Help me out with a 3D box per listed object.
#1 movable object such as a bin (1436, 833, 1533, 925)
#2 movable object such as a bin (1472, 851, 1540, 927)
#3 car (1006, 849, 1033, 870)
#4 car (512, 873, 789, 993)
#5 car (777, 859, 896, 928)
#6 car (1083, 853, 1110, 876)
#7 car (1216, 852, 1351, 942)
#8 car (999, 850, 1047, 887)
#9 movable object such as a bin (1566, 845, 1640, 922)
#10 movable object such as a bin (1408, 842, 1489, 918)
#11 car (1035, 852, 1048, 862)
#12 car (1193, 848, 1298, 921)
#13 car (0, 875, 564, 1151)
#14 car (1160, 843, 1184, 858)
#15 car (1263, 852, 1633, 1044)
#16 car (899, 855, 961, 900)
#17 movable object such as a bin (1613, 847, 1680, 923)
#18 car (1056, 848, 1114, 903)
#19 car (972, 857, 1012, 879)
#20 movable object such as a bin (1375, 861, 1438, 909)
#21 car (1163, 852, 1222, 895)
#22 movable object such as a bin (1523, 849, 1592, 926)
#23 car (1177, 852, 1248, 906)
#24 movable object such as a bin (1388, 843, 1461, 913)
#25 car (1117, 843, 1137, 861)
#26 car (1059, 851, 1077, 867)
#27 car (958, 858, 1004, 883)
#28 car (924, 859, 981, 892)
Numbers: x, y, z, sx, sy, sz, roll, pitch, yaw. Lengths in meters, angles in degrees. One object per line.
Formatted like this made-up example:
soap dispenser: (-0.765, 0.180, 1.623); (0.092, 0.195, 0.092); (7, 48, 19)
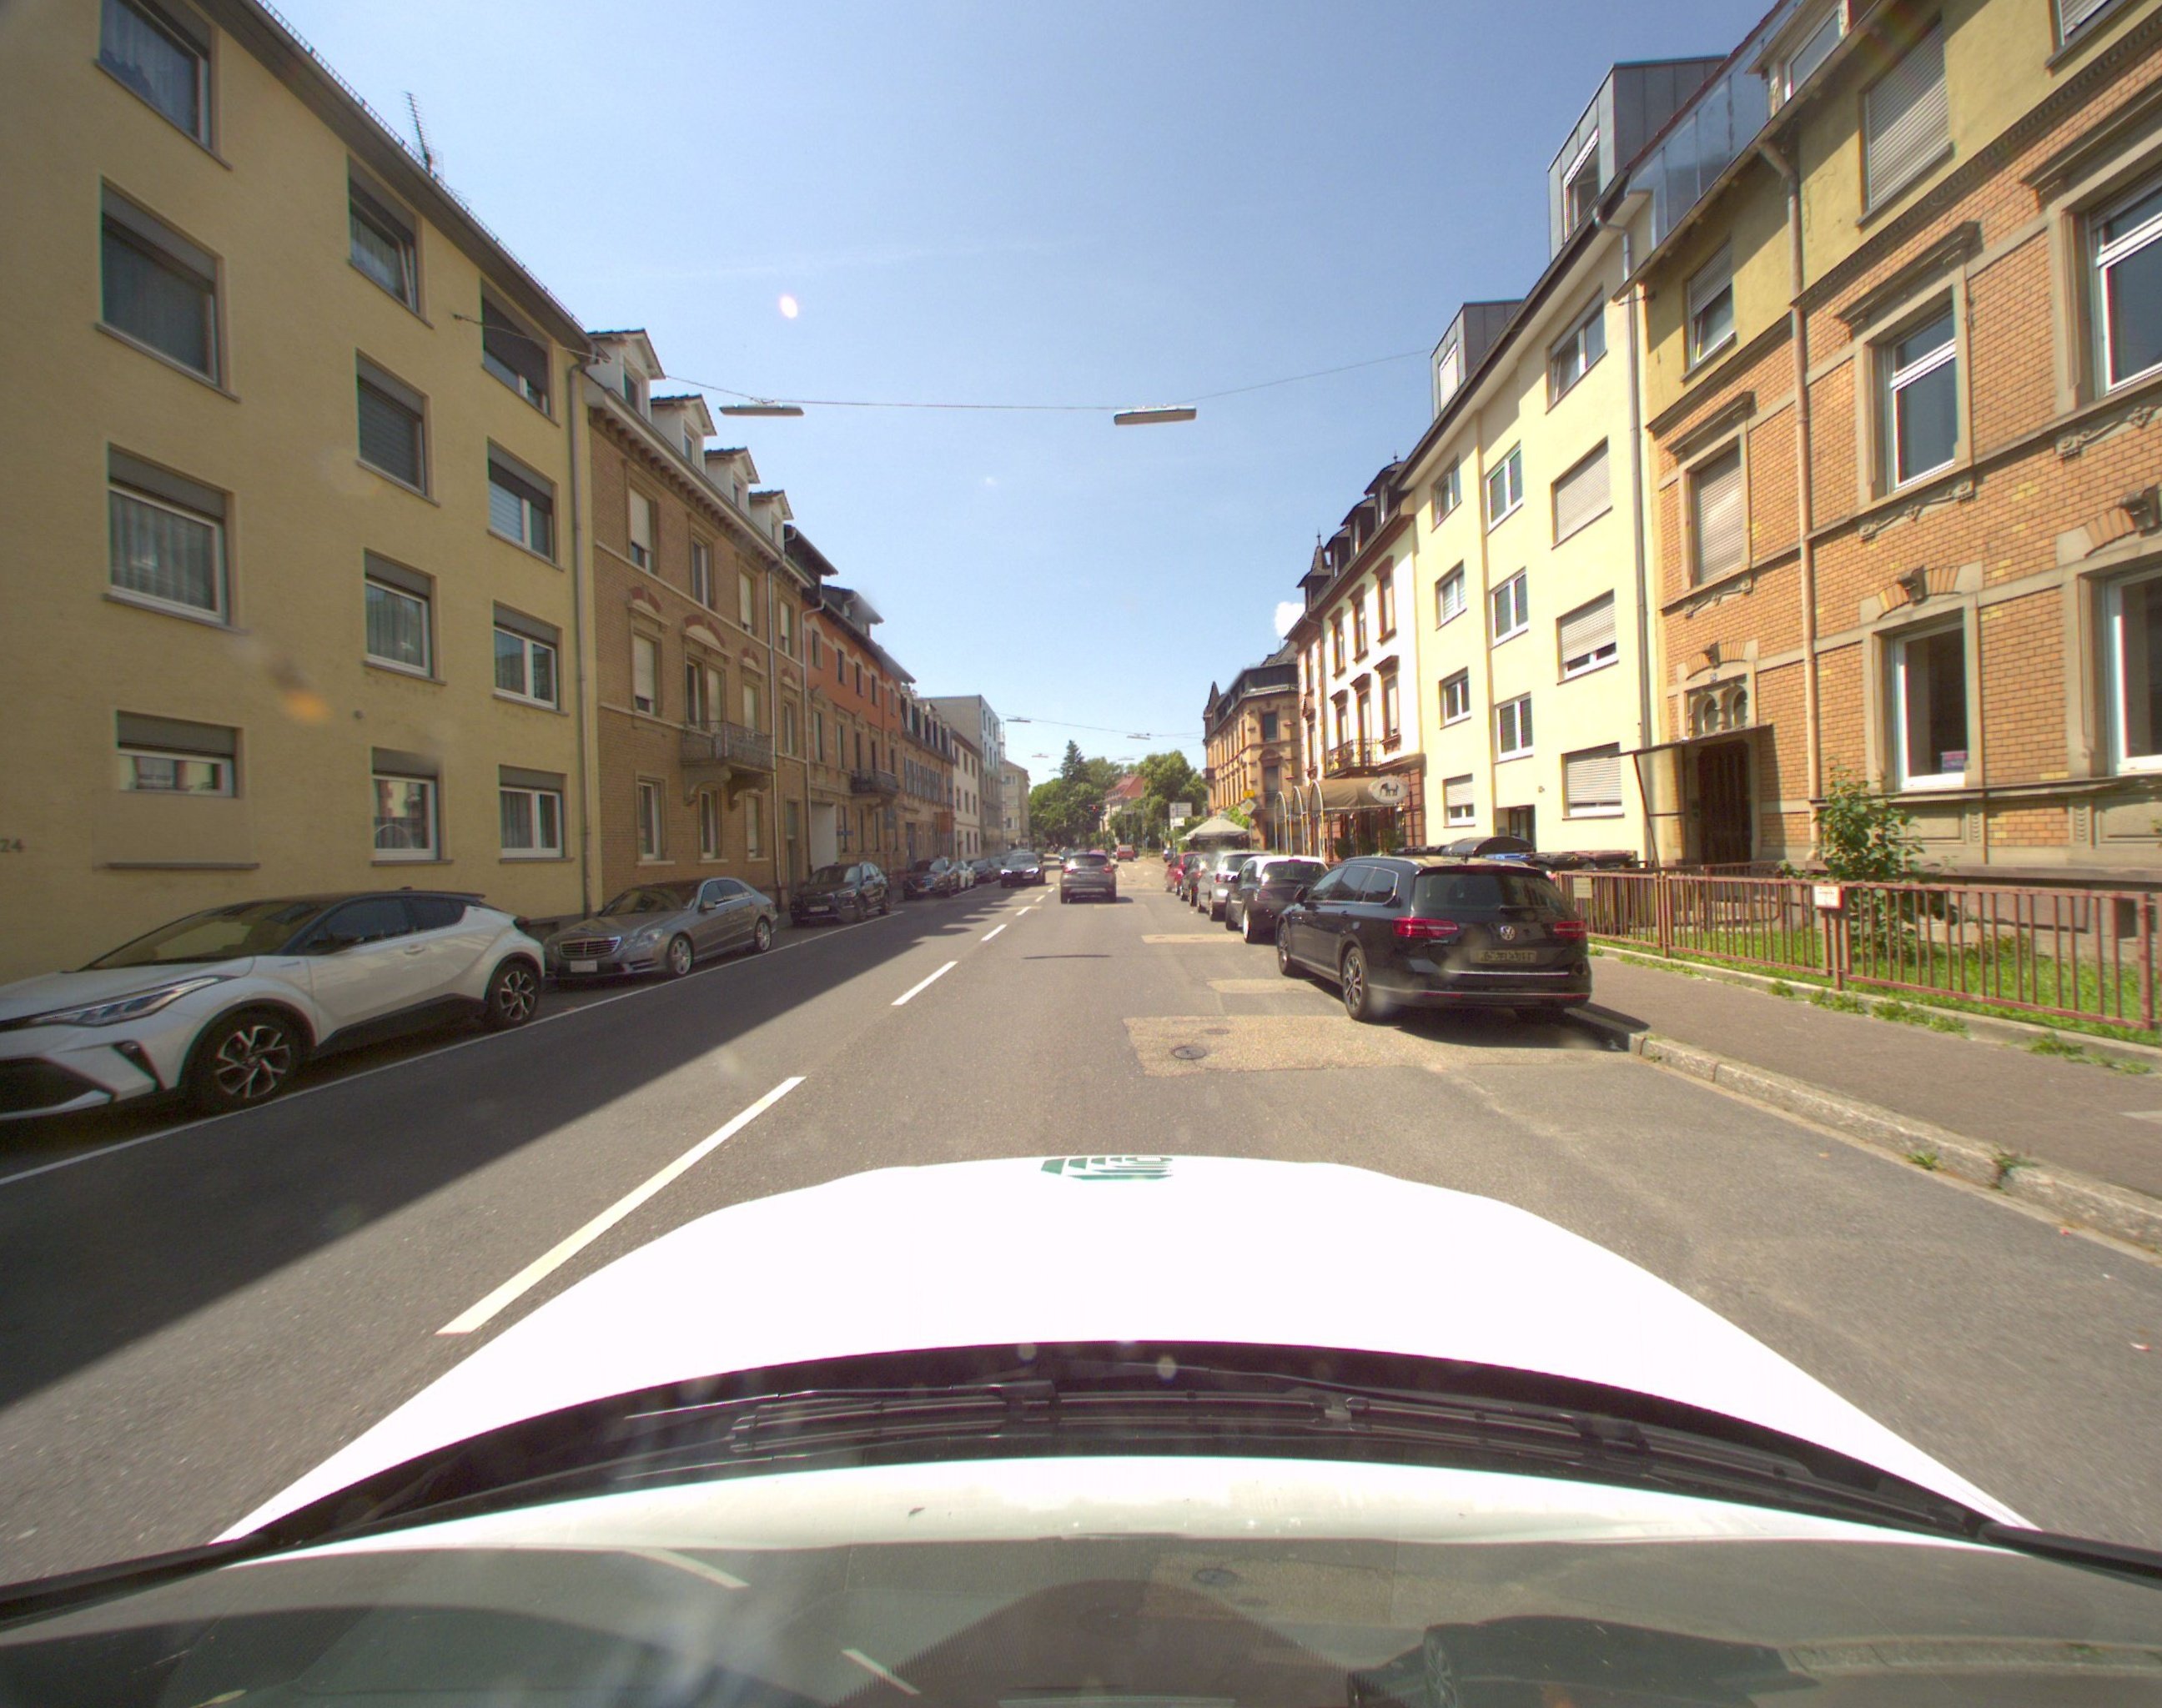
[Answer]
movable object such as a bin: (7.071, 0.417, 14.351); (1.038, 1.518, 1.448); (-1, 0, 3)
movable object such as a bin: (6.778, 0.537, 13.024); (0.635, 1.177, 0.912); (-1, 0, 3)
car: (-5.546, 0.483, 74.390); (1.897, 1.821, 4.305); (-2, 0, 2)
car: (-6.720, 1.134, 13.481); (1.898, 1.401, 4.755); (-4, 0, 1)
car: (-6.664, 1.008, 22.718); (1.898, 1.619, 4.302); (-4, 0, 0)
car: (1.112, 0.777, 61.421); (1.807, 1.620, 4.439); (-3, 0, -1)
car: (3.617, 0.701, 15.216); (1.653, 1.441, 4.002); (0, 0, 2)
car: (-2.823, 0.679, 40.384); (1.933, 1.626, 4.000); (-3, 0, 1)
movable object such as a bin: (8.294, 0.452, 12.970); (0.665, 1.177, 0.853); (-1, 0, 3)
movable object such as a bin: (7.068, 0.475, 15.724); (1.038, 1.402, 1.255); (-1, 0, 3)
car: (-6.563, 0.457, 135.411); (1.783, 1.626, 3.746); (-2, 0, 3)
car: (3.811, 0.650, 19.534); (1.853, 1.553, 4.002); (0, 0, 2)
car: (-6.859, 1.054, 7.029); (1.898, 1.510, 4.303); (-4, 0, 1)
car: (9.445, -0.380, 84.244); (1.884, 1.508, 3.958); (-3, 0, 15)
car: (3.330, 0.716, 8.547); (1.854, 1.465, 4.618); (0, 0, 1)
car: (-6.259, 0.937, 34.175); (1.900, 1.619, 4.297); (-4, 0, -3)
movable object such as a bin: (8.993, 0.485, 12.963); (0.635, 1.177, 0.627); (-1, 0, 3)
car: (0.152, 0.650, 26.510); (1.738, 1.616, 4.001); (-1, 0, 1)
car: (-5.810, 0.906, 53.497); (1.897, 1.291, 4.306); (-2, 0, 3)
movable object such as a bin: (7.213, 0.679, 18.113); (1.038, 1.023, 0.992); (-1, 0, 3)
car: (4.027, 0.661, 29.874); (1.607, 1.443, 3.435); (-1, 0, -2)
movable object such as a bin: (7.584, 0.518, 12.989); (0.635, 1.186, 0.853); (-1, 0, 3)
car: (3.824, 0.684, 24.166); (1.605, 1.461, 3.506); (-1, 0, 2)
movable object such as a bin: (7.140, 0.483, 16.980); (1.038, 1.402, 1.255); (-1, 0, 3)
car: (5.329, -0.246, 93.962); (1.983, 2.013, 4.475); (-3, 0, 7)
car: (-1.405, 0.505, 89.608); (1.784, 1.626, 3.743); (-2, 0, 1)
car: (-5.857, 0.939, 48.087); (1.896, 1.291, 4.306); (-2, 0, 3)
car: (-6.184, 0.997, 39.790); (1.898, 1.357, 4.304); (-4, 0, 2)
